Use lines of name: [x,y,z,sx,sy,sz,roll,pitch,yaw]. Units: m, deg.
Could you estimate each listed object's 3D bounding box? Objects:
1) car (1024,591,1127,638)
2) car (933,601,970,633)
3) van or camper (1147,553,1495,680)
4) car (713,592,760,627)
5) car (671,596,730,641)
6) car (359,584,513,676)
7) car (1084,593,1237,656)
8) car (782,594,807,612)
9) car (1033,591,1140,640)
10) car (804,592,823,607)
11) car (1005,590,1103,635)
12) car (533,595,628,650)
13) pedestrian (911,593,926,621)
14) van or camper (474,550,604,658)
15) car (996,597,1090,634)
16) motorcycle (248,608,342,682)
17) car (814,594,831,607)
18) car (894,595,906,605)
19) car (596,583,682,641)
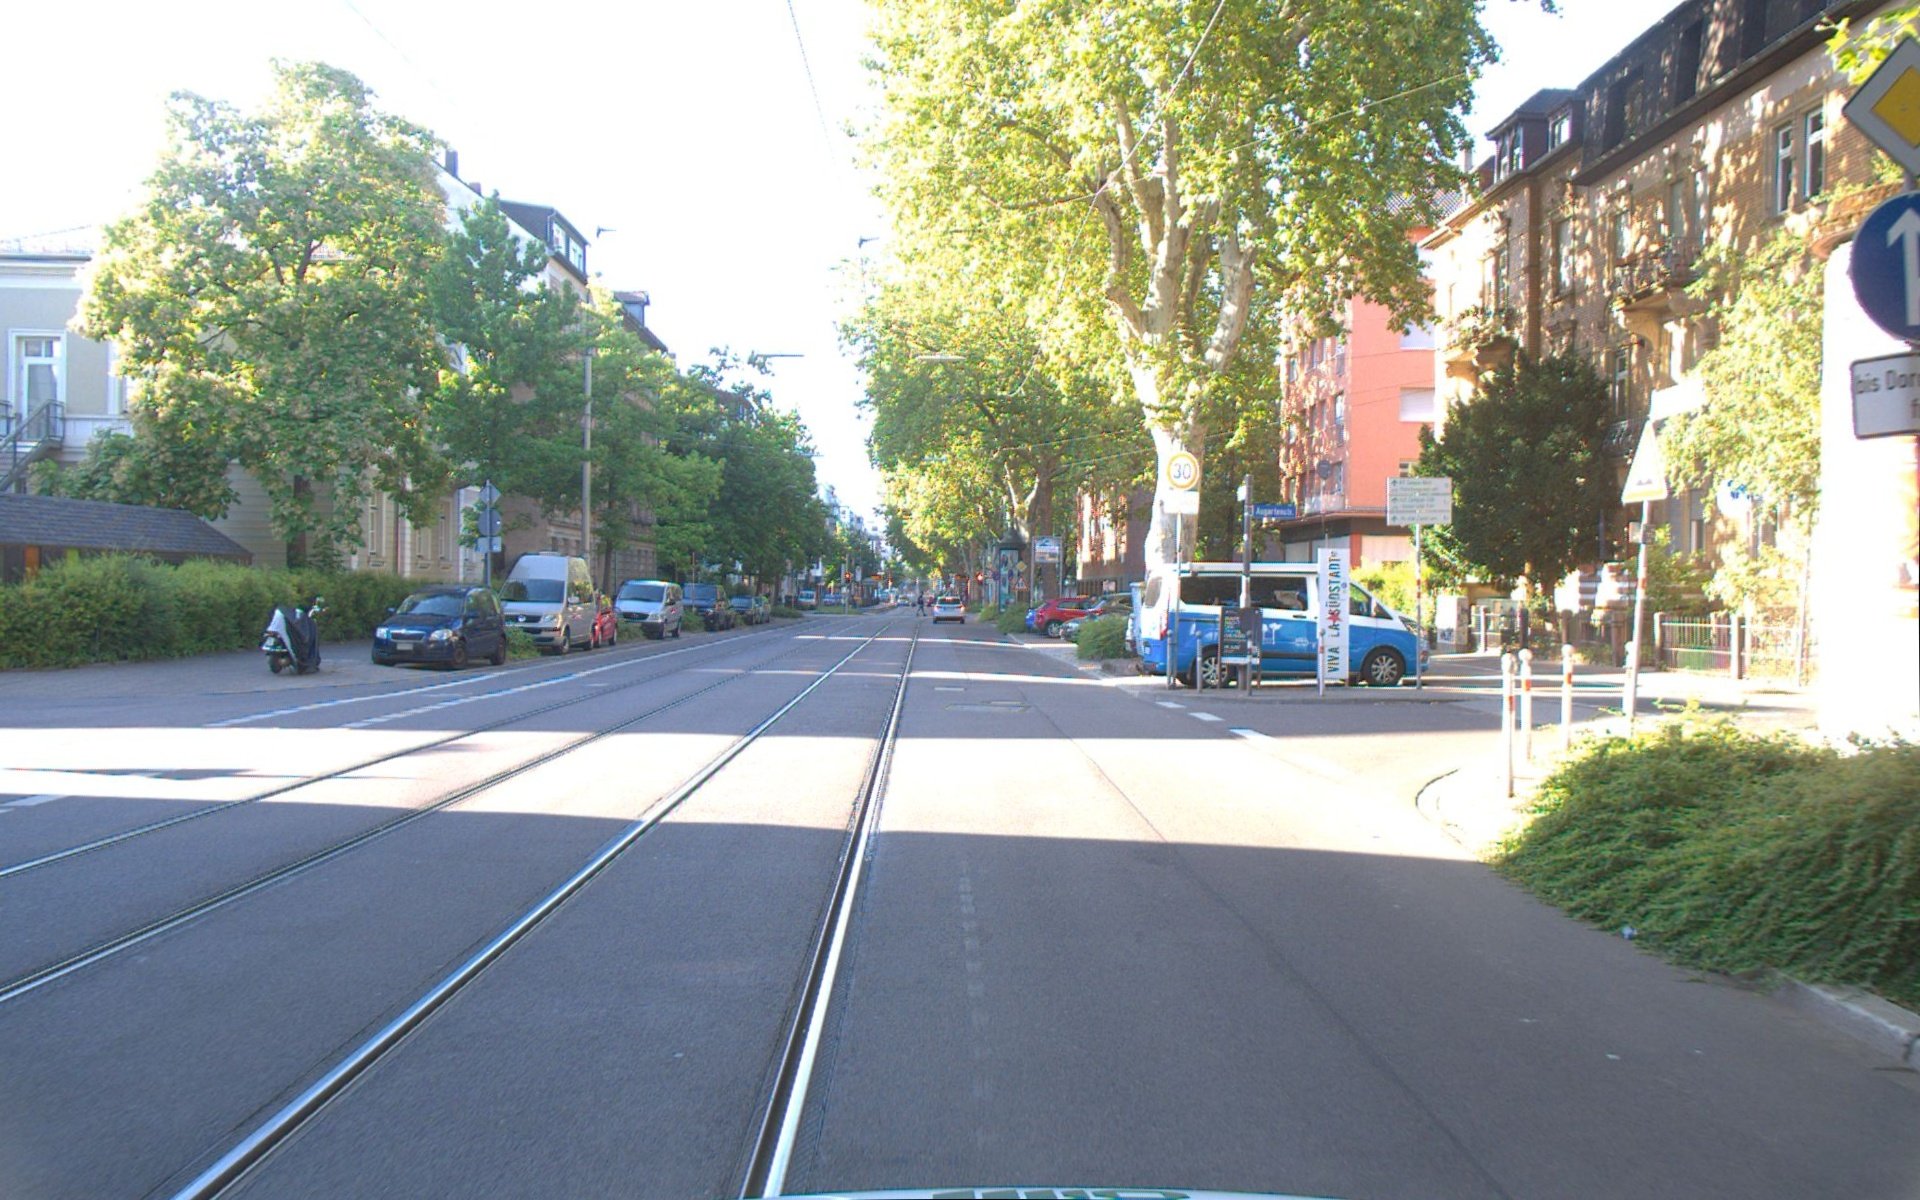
car: [4.537,0.575,65.445,3.906,1.816,2.000,0,0,-1]
car: [-0.484,0.893,89.190,1.879,1.612,3.790,-1,0,-2]
van or camper: [6.141,0.247,28.551,5.448,2.048,2.242,0,3,-6]
car: [-11.758,0.467,87.215,1.953,1.775,4.658,0,0,-1]
car: [-11.157,0.760,71.303,1.953,1.893,4.177,0,0,-1]
car: [-10.350,0.541,32.995,1.751,1.614,4.342,3,0,-2]
car: [5.429,0.648,45.104,3.906,1.637,2.000,0,0,-1]
car: [-13.493,0.245,135.031,1.880,1.443,3.718,0,0,-3]
car: [4.800,0.579,63.168,3.906,1.816,2.000,0,0,-1]
car: [-15.261,-0.008,171.980,1.880,1.443,3.587,-2,-1,-4]
car: [3.884,0.524,68.693,3.906,1.816,2.000,0,0,-1]
car: [-10.865,0.607,47.582,1.838,1.486,4.205,0,0,-1]
pedestrian: [-3.116,0.533,124.755,1.026,2.049,1.082,0,0,2]
van or camper: [-10.643,0.079,42.223,2.037,2.577,5.316,0,0,-1]
car: [3.529,0.637,70.991,3.906,1.547,2.000,0,0,-1]
motorcycle: [-11.568,0.763,28.850,0.748,1.126,2.329,1,2,-1]
car: [-15.754,0.058,189.357,1.880,1.443,3.588,0,0,-3]
car: [-8.806,-0.062,241.643,1.603,1.443,3.588,0,0,-3]
car: [-10.994,0.379,56.892,2.129,1.893,4.658,0,0,-1]
